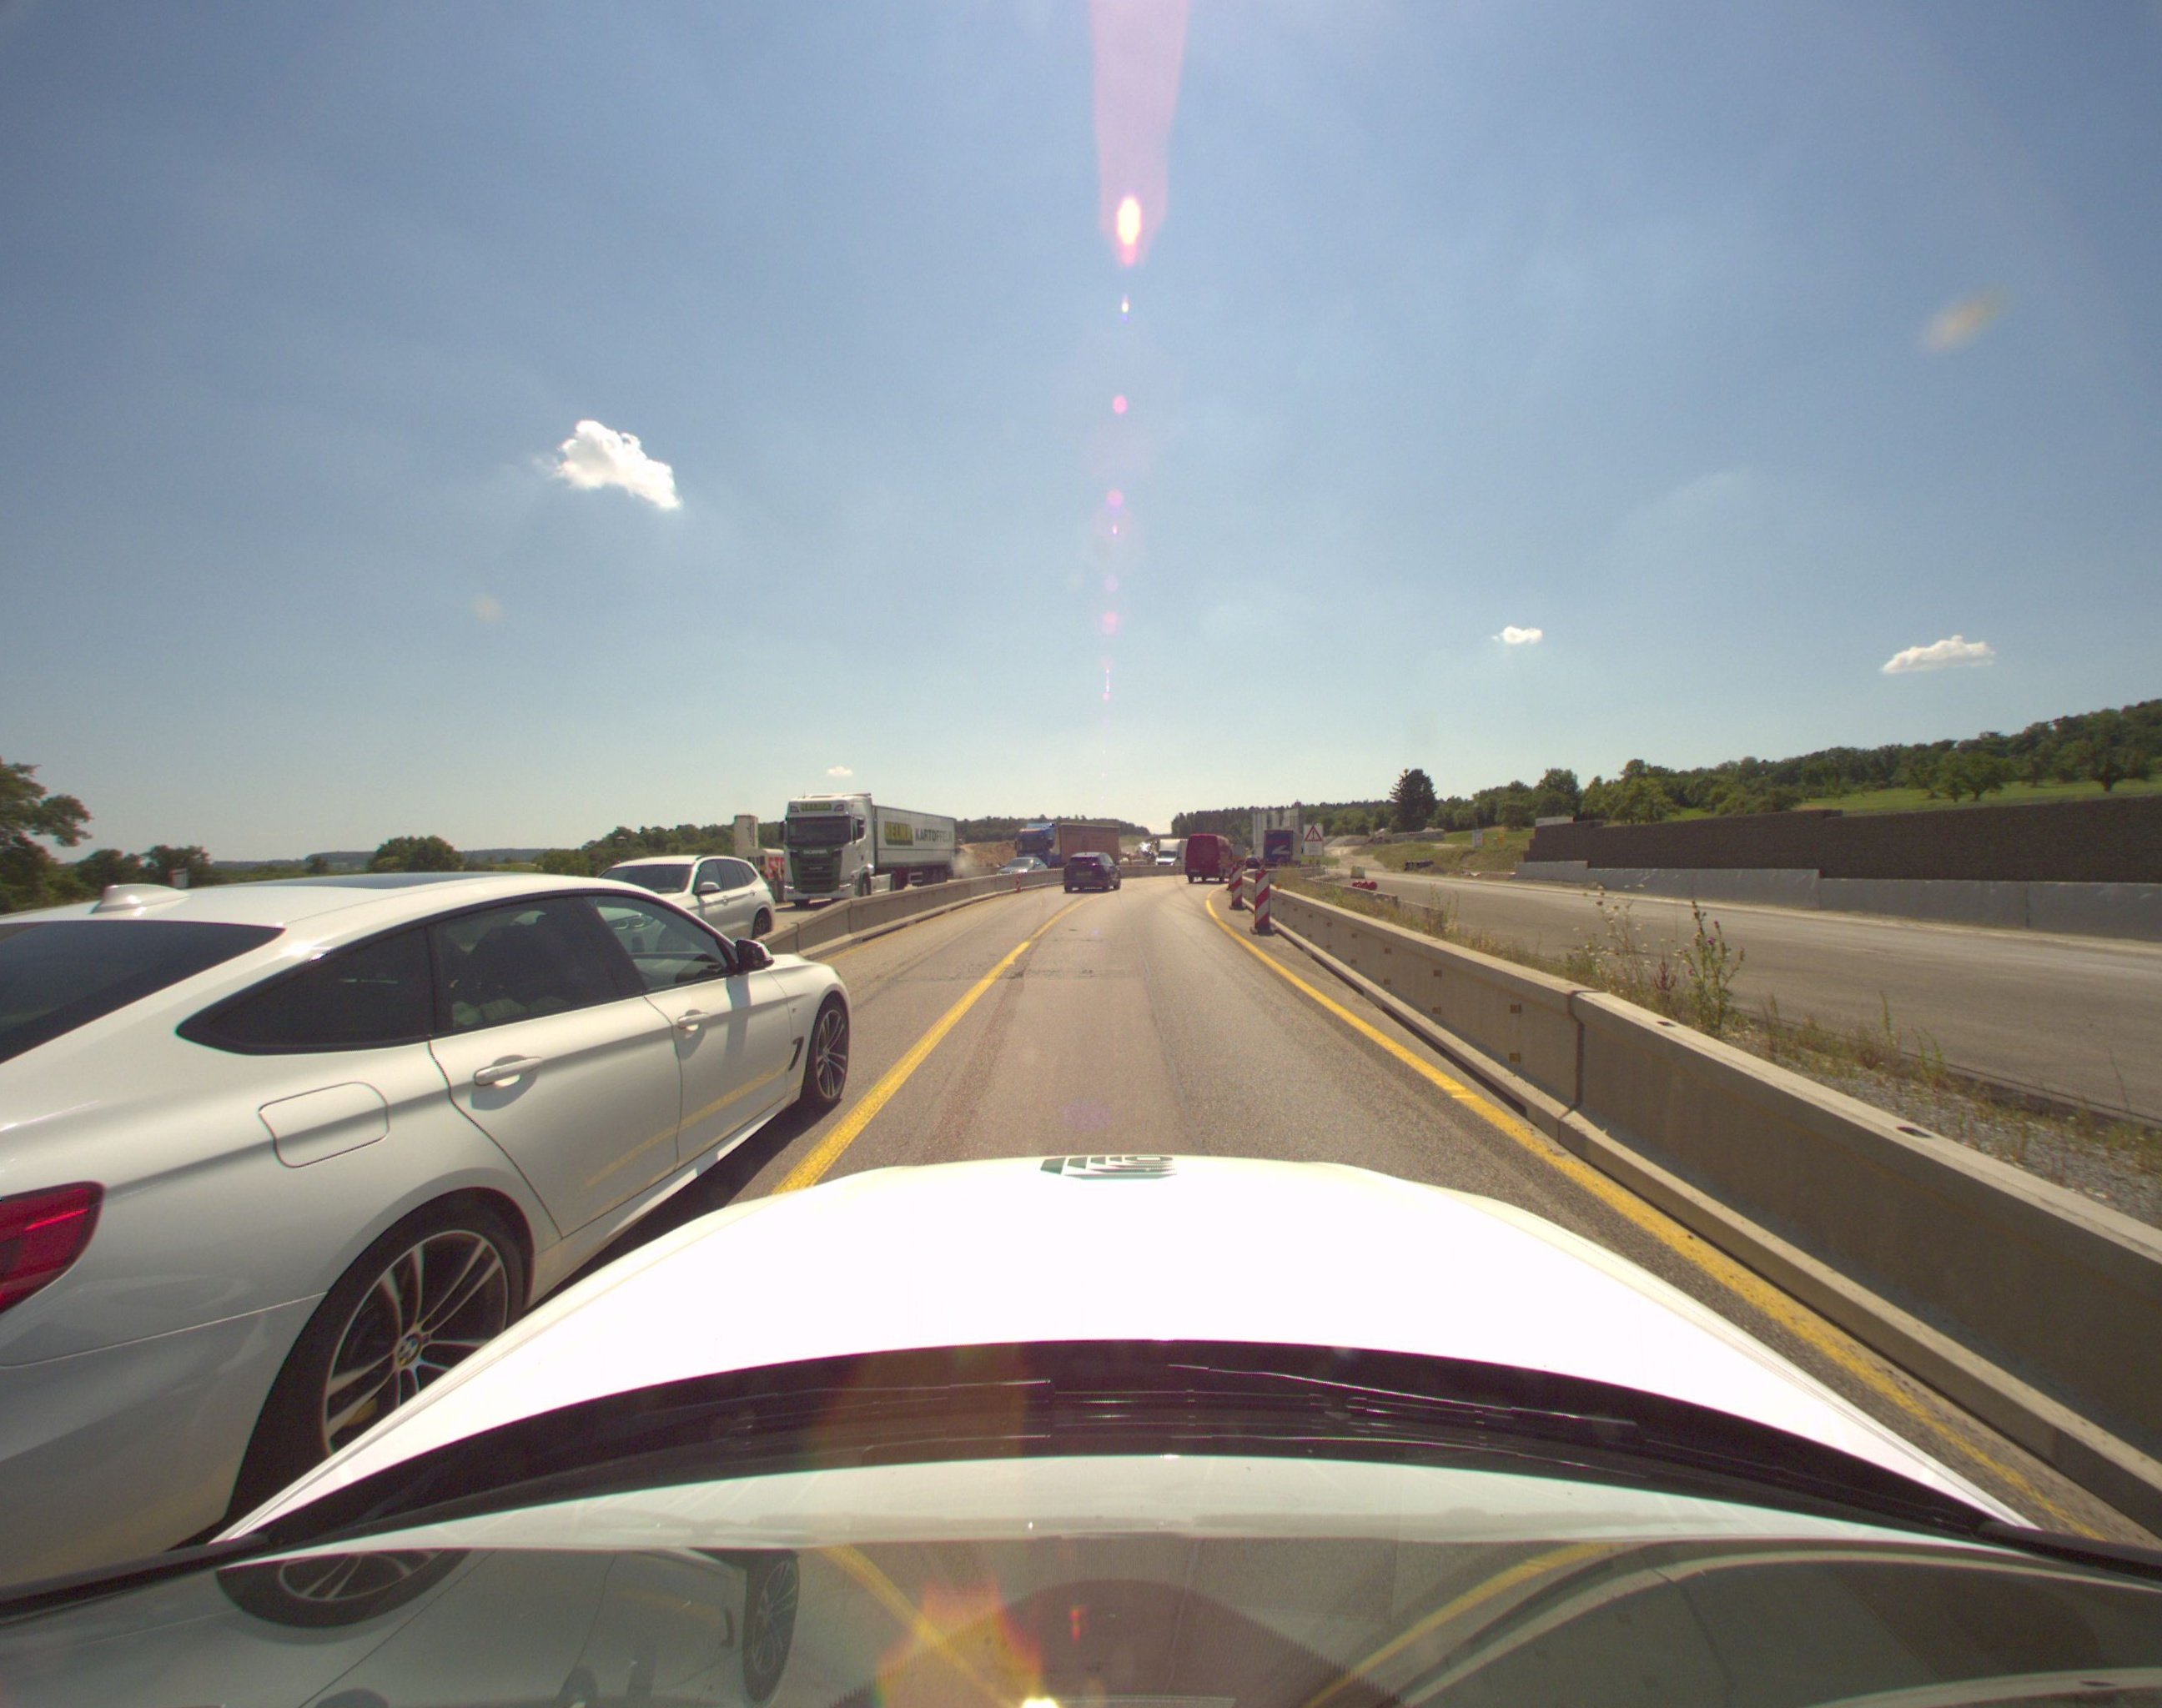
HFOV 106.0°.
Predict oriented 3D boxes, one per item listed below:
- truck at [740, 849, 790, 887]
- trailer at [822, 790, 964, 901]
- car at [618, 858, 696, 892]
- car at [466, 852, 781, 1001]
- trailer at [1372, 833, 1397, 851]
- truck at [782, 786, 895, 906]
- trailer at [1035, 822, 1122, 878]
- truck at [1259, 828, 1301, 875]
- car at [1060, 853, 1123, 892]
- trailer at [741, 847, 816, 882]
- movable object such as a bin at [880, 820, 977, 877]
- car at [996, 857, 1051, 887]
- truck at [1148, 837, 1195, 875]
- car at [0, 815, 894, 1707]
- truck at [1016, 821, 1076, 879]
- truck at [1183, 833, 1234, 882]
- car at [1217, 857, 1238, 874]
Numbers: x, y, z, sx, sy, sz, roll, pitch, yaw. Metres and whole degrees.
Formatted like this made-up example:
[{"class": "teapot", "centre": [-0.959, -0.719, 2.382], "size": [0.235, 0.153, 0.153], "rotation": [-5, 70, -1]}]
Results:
[{"class": "truck", "centre": [-26.094, 1.122, 67.425], "size": [2.332, 3.043, 4.266], "rotation": [0, 0, 2]}, {"class": "trailer", "centre": [-7.980, -0.301, 36.939], "size": [2.341, 4.152, 12.518], "rotation": [-1, 0, 6]}, {"class": "car", "centre": [-26.412, 1.243, 50.941], "size": [2.199, 2.016, 5.109], "rotation": [0, 0, -1]}, {"class": "car", "centre": [-6.206, 0.858, 11.826], "size": [1.987, 1.739, 4.493], "rotation": [0, 0, 1]}, {"class": "trailer", "centre": [70.583, -2.730, 189.803], "size": [2.752, 4.114, 6.732], "rotation": [0, 0, -6]}, {"class": "truck", "centre": [-8.683, -0.261, 29.746], "size": [2.439, 4.008, 5.079], "rotation": [0, 0, 2]}, {"class": "trailer", "centre": [0.109, -0.310, 67.146], "size": [2.565, 4.152, 13.132], "rotation": [-1, 0, 21]}, {"class": "truck", "centre": [18.731, -0.182, 76.385], "size": [2.990, 4.153, 8.313], "rotation": [-1, 0, 19]}, {"class": "car", "centre": [0.511, 0.727, 33.883], "size": [1.782, 1.534, 3.946], "rotation": [-1, 0, 14]}, {"class": "trailer", "centre": [-26.740, 0.891, 72.128], "size": [5.543, 2.997, 2.884], "rotation": [0, 0, 1]}, {"class": "movable object such as a bin", "centre": [-12.488, -0.415, 67.731], "size": [2.897, 4.329, 9.380], "rotation": [-1, 0, 25]}, {"class": "car", "centre": [-2.968, 0.914, 43.189], "size": [1.743, 1.478, 4.550], "rotation": [-1, 0, 11]}, {"class": "truck", "centre": [8.683, 0.181, 77.436], "size": [2.556, 3.381, 6.965], "rotation": [-1, 0, 22]}, {"class": "car", "centre": [-2.382, 0.751, 3.438], "size": [1.788, 1.534, 5.076], "rotation": [-2, 0, 2]}, {"class": "truck", "centre": [-2.503, -0.251, 60.204], "size": [2.523, 4.081, 5.573], "rotation": [-1, 0, 20]}, {"class": "truck", "centre": [7.457, 0.194, 46.890], "size": [2.096, 2.633, 6.511], "rotation": [-1, 0, 16]}, {"class": "car", "centre": [13.979, 1.067, 77.921], "size": [1.791, 1.579, 4.009], "rotation": [-1, 0, 8]}]
